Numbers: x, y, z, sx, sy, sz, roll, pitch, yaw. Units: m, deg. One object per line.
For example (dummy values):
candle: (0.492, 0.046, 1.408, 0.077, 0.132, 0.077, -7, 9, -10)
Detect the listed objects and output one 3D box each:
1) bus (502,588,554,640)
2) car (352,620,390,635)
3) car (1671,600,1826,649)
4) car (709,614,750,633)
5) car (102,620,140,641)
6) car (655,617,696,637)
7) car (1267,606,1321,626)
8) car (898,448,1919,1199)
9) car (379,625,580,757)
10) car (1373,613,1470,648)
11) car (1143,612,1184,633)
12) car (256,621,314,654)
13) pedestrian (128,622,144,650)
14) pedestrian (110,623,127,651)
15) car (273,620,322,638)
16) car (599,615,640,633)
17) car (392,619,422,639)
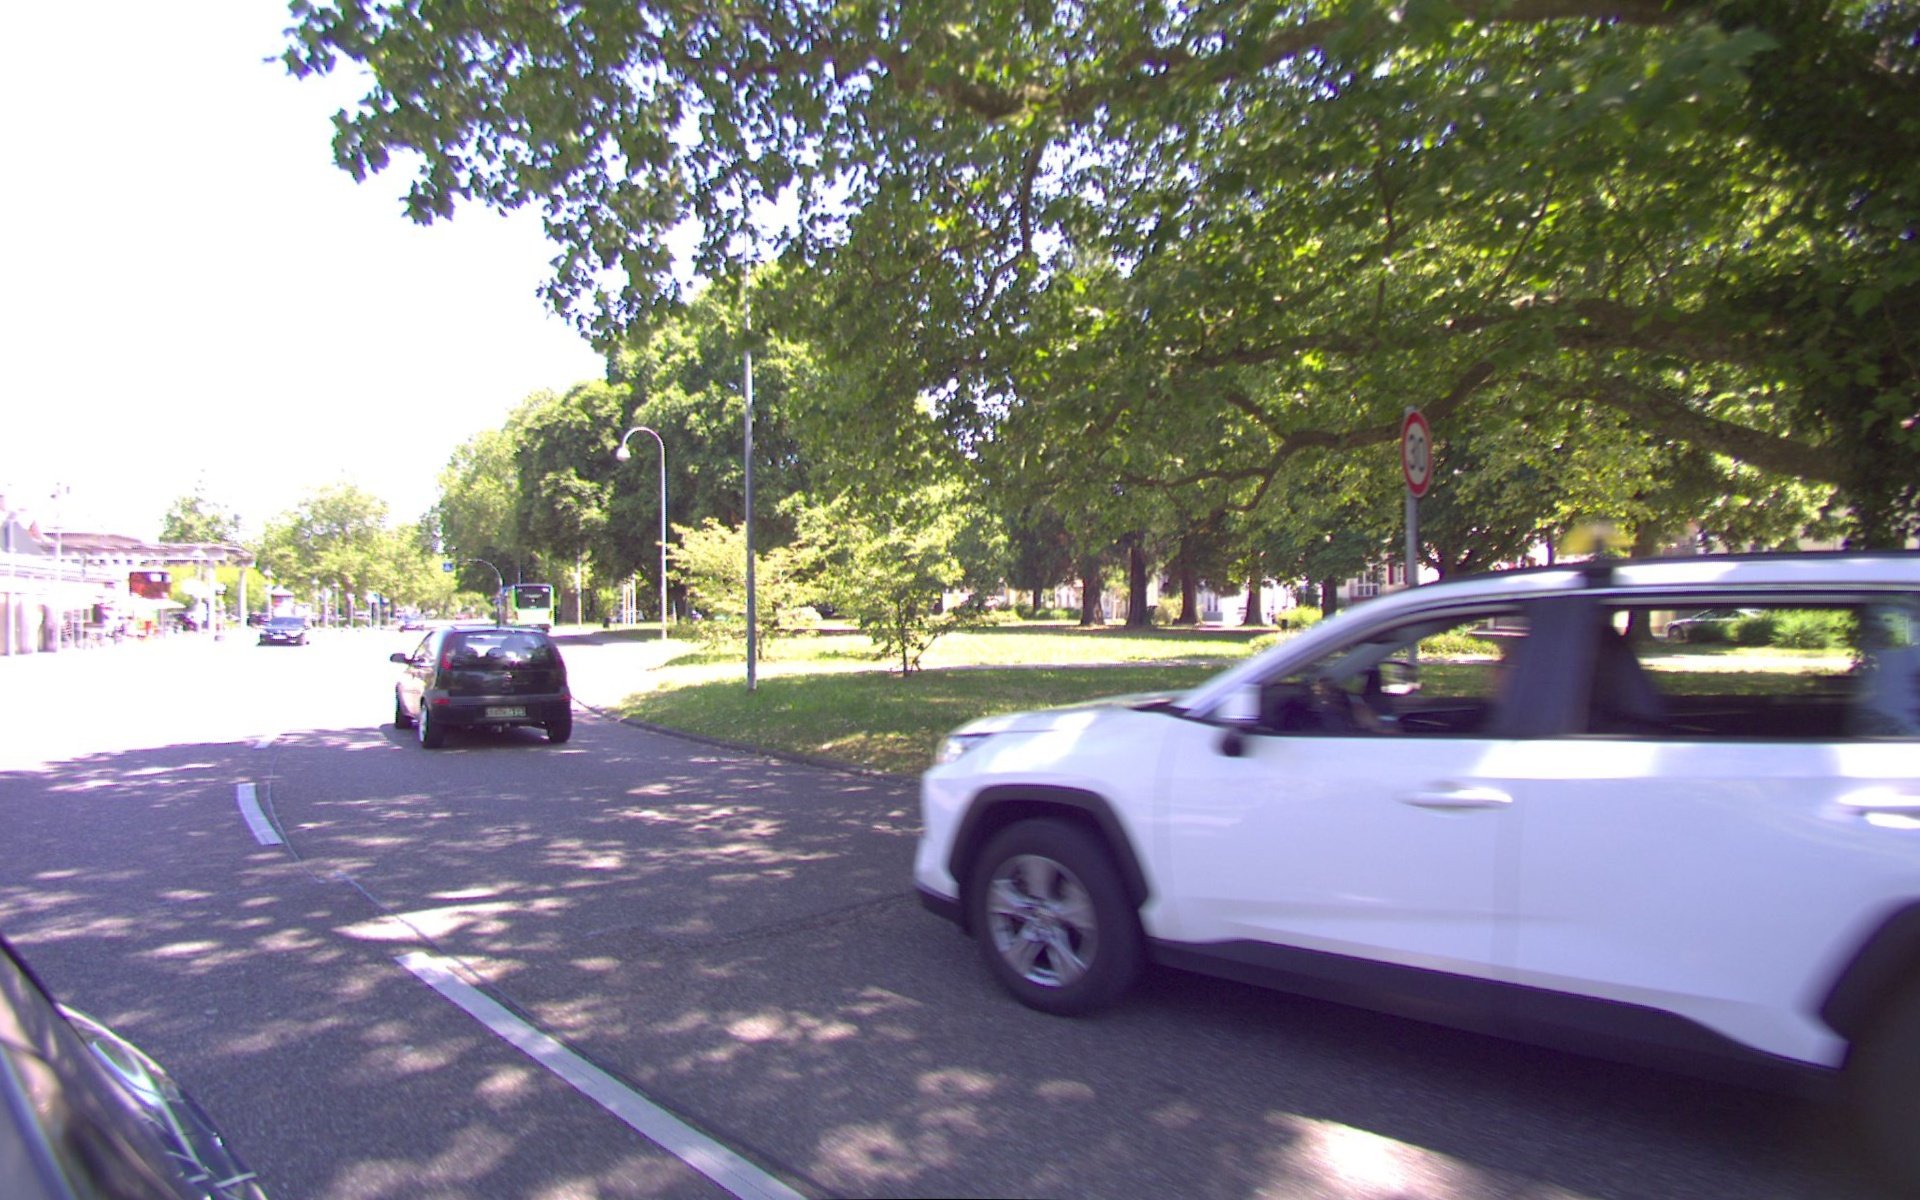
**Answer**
bus: (-30.912, 0.998, 72.092, 2.767, 3.328, 11.896, -1, -1, -26)
car: (-70.687, 3.285, 121.497, 3.932, 1.677, 2.006, 0, -1, -32)
car: (31.255, 0.951, 40.305, 1.966, 1.792, 4.520, -1, -1, -18)
car: (-25.168, 2.574, 110.414, 3.931, 2.029, 2.006, -1, -1, -26)
car: (-82.858, 2.994, 99.959, 1.965, 1.894, 4.013, -1, -1, -25)
car: (-30.296, 2.811, 107.734, 3.930, 2.029, 2.007, -1, -1, -23)
car: (28.717, 1.405, 86.980, 3.932, 1.630, 2.006, -1, -1, -15)
car: (2.092, 0.593, 3.511, 4.313, 1.761, 2.025, -2, -3, 35)
car: (-6.329, 1.062, 13.085, 1.619, 1.428, 4.009, 2, -3, -36)
car: (24.697, 1.614, 54.325, 1.965, 1.792, 4.521, -1, -1, -25)
car: (17.582, 1.918, 87.644, 1.967, 1.792, 4.010, -1, -1, -13)
car: (-33.247, 1.820, 49.923, 1.748, 1.557, 4.196, 1, -2, -25)
pedestrian: (-37.611, 1.651, 46.186, 0.495, 1.241, 0.515, 0, -1, -31)
pedestrian: (-38.092, 1.668, 45.817, 0.482, 1.220, 0.473, -1, -1, -19)
car: (-66.844, 2.898, 102.150, 3.931, 1.677, 2.006, -1, -1, -29)
car: (-35.651, 2.524, 105.925, 3.930, 1.817, 2.007, -1, -1, -23)
car: (-42.843, 2.236, 78.529, 1.748, 1.557, 4.196, 1, -2, -25)
